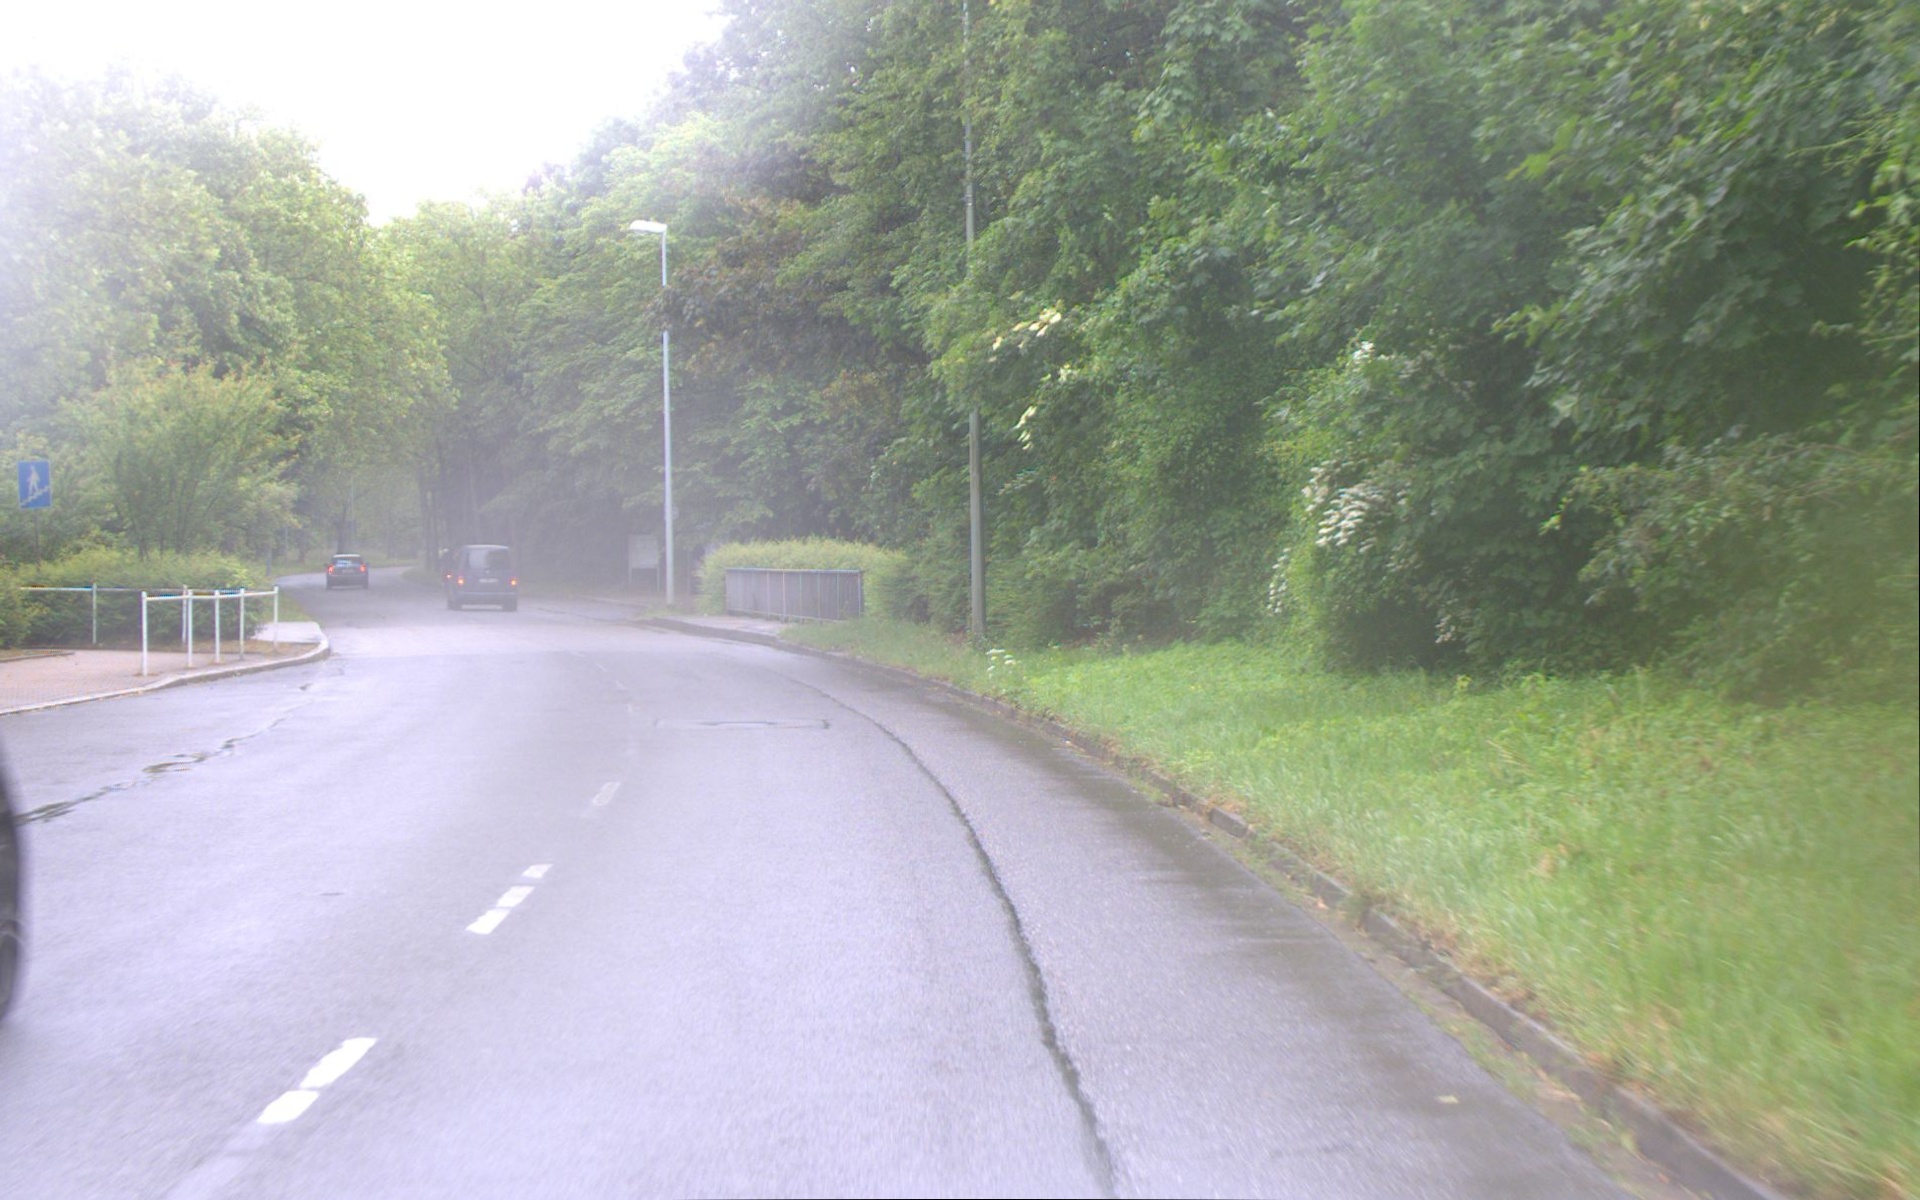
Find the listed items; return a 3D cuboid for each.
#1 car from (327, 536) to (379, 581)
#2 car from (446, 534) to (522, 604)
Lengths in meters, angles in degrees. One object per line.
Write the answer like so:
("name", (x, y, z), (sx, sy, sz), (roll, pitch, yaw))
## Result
("car", (-25.386, -1.730, 143.643), (1.993, 1.809, 4.001), (1, 0, -12))
("car", (-13.378, -0.884, 96.441), (1.985, 1.919, 4.001), (0, 1, -10))
